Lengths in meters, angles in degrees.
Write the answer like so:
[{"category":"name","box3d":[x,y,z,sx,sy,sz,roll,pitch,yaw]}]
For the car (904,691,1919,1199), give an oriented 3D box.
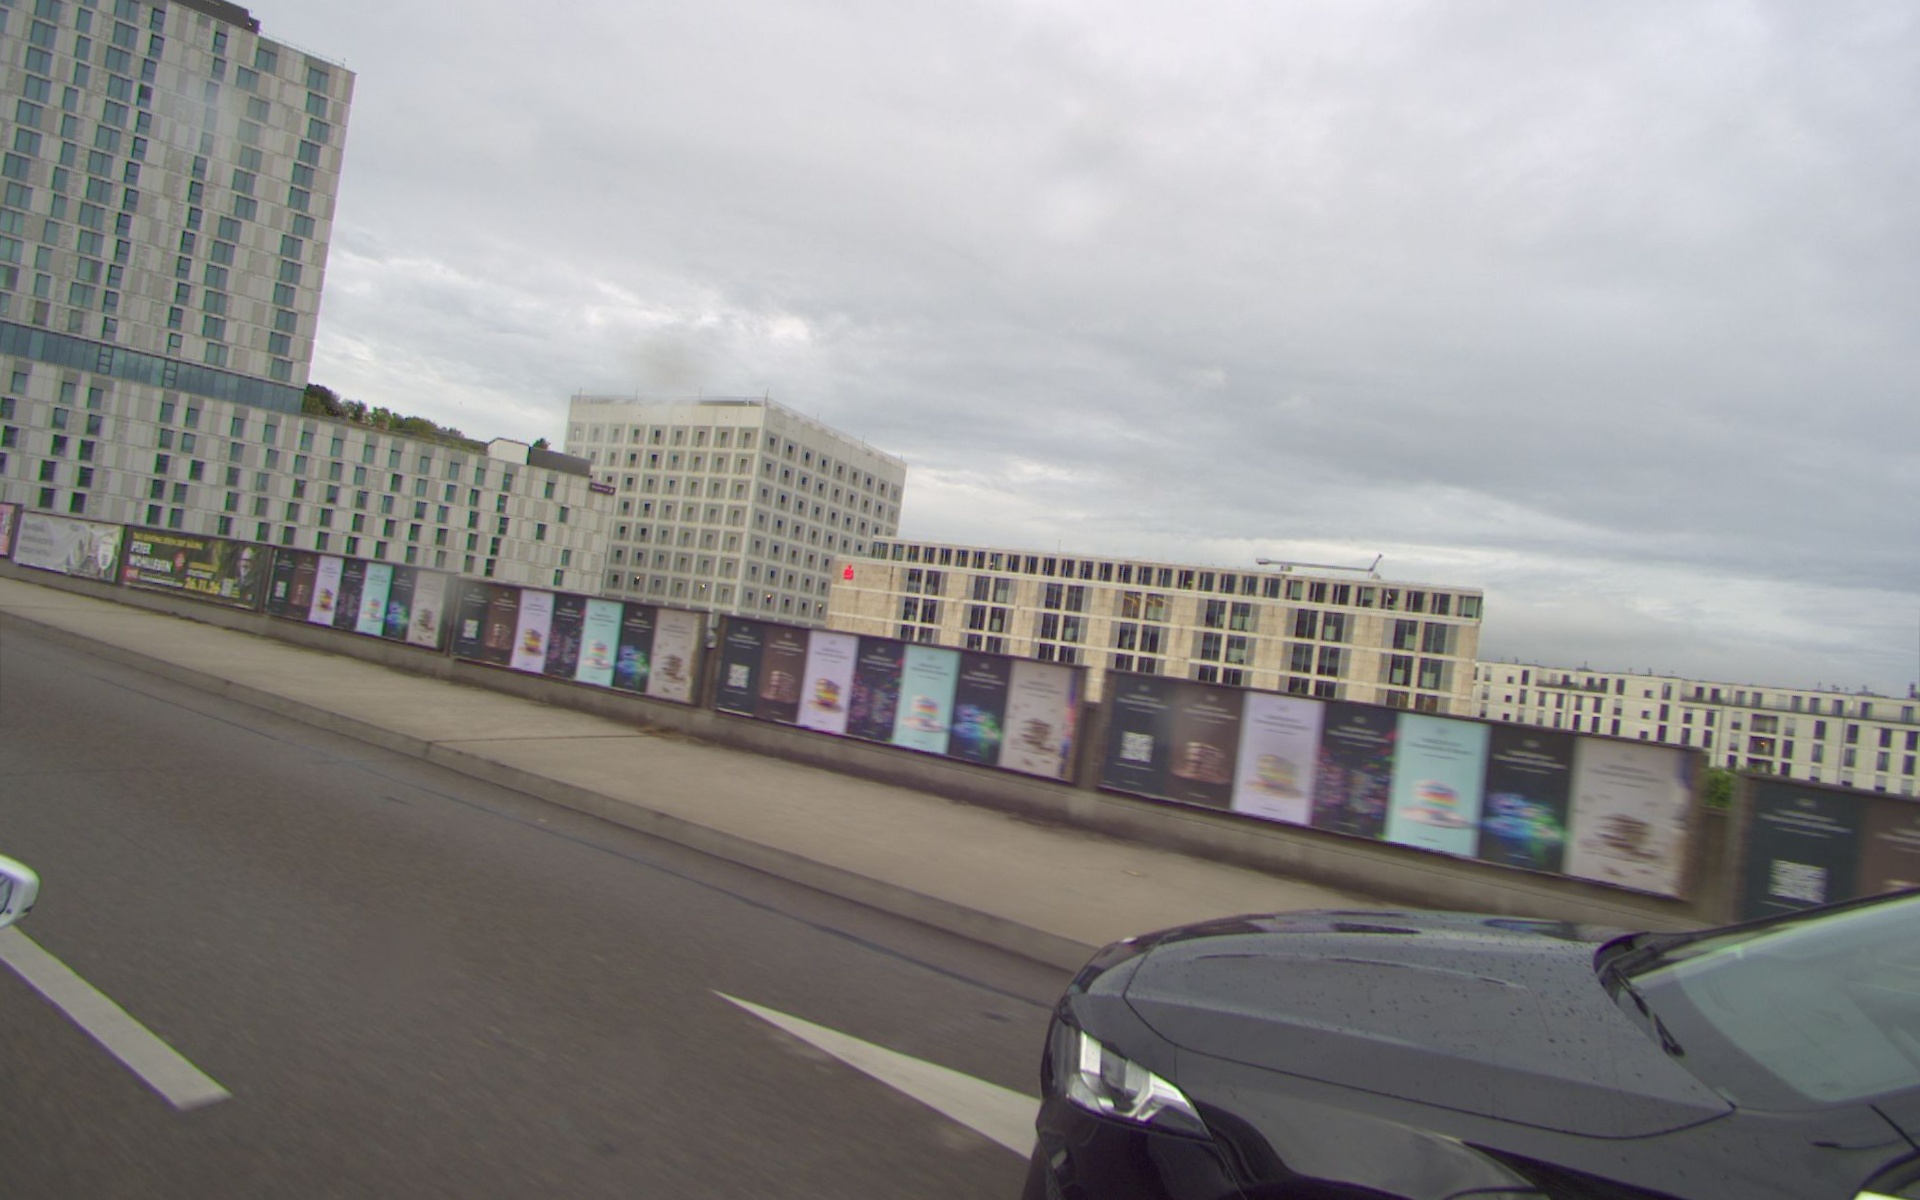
[{"category":"car","box3d":[2.101,1.129,1.651,4.085,1.392,1.727,6,-2,30]}]
